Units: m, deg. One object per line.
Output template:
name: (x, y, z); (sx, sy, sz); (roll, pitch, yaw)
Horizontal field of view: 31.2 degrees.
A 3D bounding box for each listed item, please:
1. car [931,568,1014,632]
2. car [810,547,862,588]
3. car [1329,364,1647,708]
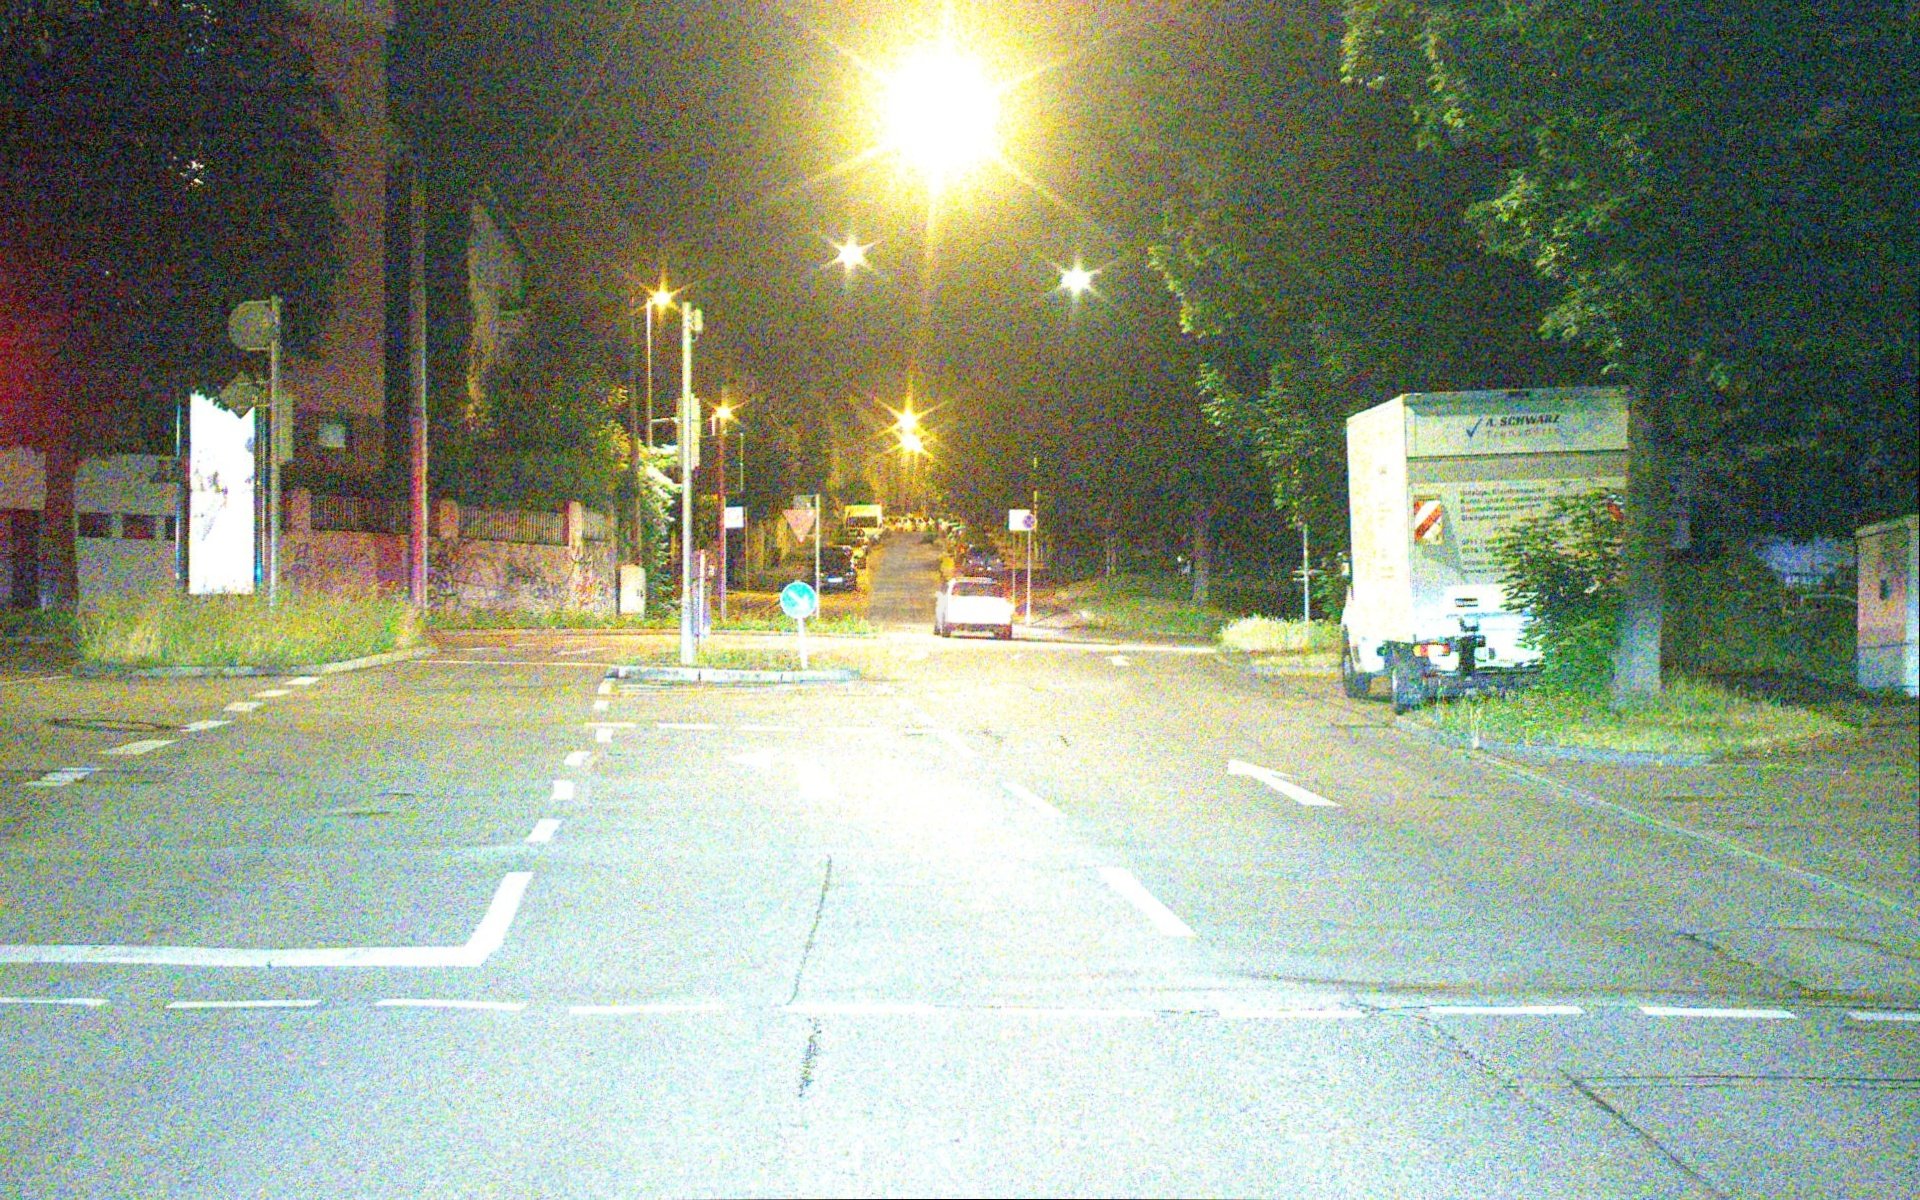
car: (0.279, -0.019, 82.565); (1.776, 1.481, 4.000); (1, 1, -3)
car: (-4.835, -1.290, 134.363); (1.908, 1.552, 3.904); (1, 1, -1)
car: (5.121, -0.616, 34.225); (2.297, 3.082, 5.840); (-1, 1, 1)
